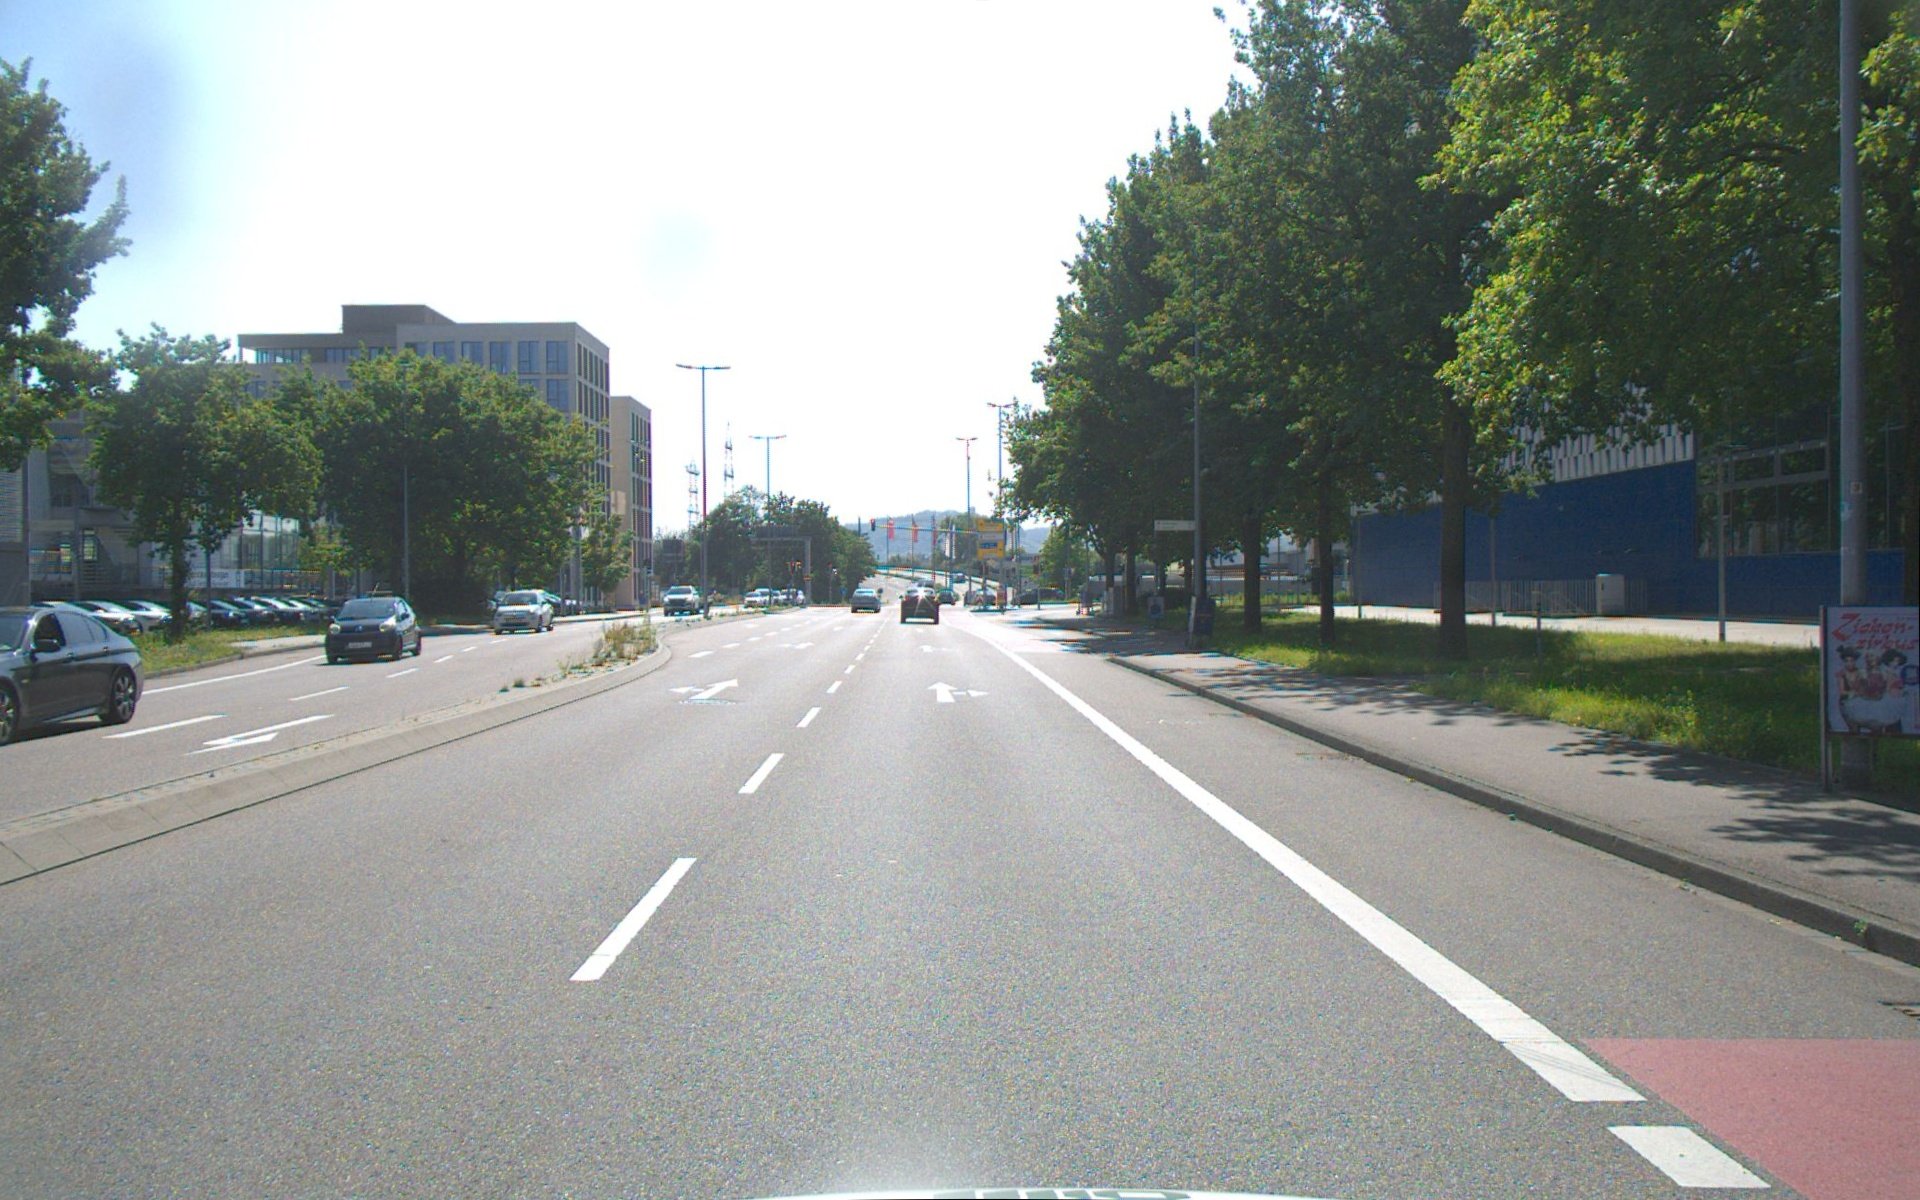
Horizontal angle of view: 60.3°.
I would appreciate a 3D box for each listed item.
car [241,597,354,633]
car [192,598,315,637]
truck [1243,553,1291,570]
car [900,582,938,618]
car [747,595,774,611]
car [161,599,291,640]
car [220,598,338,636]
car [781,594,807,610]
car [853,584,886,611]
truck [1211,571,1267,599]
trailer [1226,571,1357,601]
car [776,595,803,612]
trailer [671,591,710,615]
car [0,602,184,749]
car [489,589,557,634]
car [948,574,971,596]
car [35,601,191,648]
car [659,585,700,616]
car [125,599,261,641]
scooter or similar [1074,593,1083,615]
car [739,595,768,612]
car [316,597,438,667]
[{"bbox_3d":[-27.553,0.617,68.850,3.906,1.400,1.924,-1,0,-1],"label":"car"},{"bbox_3d":[-27.166,0.678,63.696,3.906,1.400,1.924,-1,0,-1],"label":"car"},{"bbox_3d":[39.874,-4.945,214.733,5.788,2.048,2.001,1,1,1],"label":"truck"},{"bbox_3d":[-1.929,-0.014,79.046,1.770,1.668,4.458,-1,0,-1],"label":"car"},{"bbox_3d":[-18.803,0.259,156.037,1.777,1.489,4.002,-1,0,3],"label":"car"},{"bbox_3d":[-27.178,0.702,61.343,3.906,1.400,1.924,-1,0,-1],"label":"car"},{"bbox_3d":[-27.180,0.676,66.081,3.906,1.400,1.924,-1,0,-1],"label":"car"},{"bbox_3d":[-15.741,0.163,156.777,1.777,1.489,4.002,-1,0,3],"label":"car"},{"bbox_3d":[-5.887,-0.192,108.170,1.953,1.713,4.000,-1,0,-1],"label":"car"},{"bbox_3d":[25.736,-1.402,152.888,4.782,2.466,2.000,1,1,-1],"label":"truck"},{"bbox_3d":[30.638,-1.304,152.987,11.630,2.512,2.000,1,1,-1],"label":"trailer"},{"bbox_3d":[-15.431,0.339,149.809,1.777,1.489,4.002,-1,0,3],"label":"car"},{"bbox_3d":[-17.797,0.177,109.483,1.954,1.478,5.768,-1,0,-3],"label":"trailer"},{"bbox_3d":[-10.825,0.830,18.628,1.804,1.489,4.999,-3,0,-1],"label":"car"},{"bbox_3d":[-15.676,0.401,59.492,1.621,1.489,3.548,-2,0,-4],"label":"car"},{"bbox_3d":[-0.040,-1.307,143.373,1.723,1.789,3.600,1,2,-4],"label":"car"},{"bbox_3d":[-27.292,0.768,53.369,3.960,1.400,2.025,-1,0,-1],"label":"car"},{"bbox_3d":[-17.620,0.039,104.123,1.954,1.864,4.934,-1,0,-3],"label":"car"},{"bbox_3d":[-27.165,0.696,58.683,3.906,1.400,1.924,-1,0,-1],"label":"car"},{"bbox_3d":[7.032,0.244,98.388,0.343,1.255,1.312,-1,0,12],"label":"scooter or similar"},{"bbox_3d":[-18.518,0.301,148.555,1.852,1.489,4.002,-1,0,3],"label":"car"},{"bbox_3d":[-13.349,0.686,38.093,1.749,1.439,3.994,-3,0,-7],"label":"car"}]
